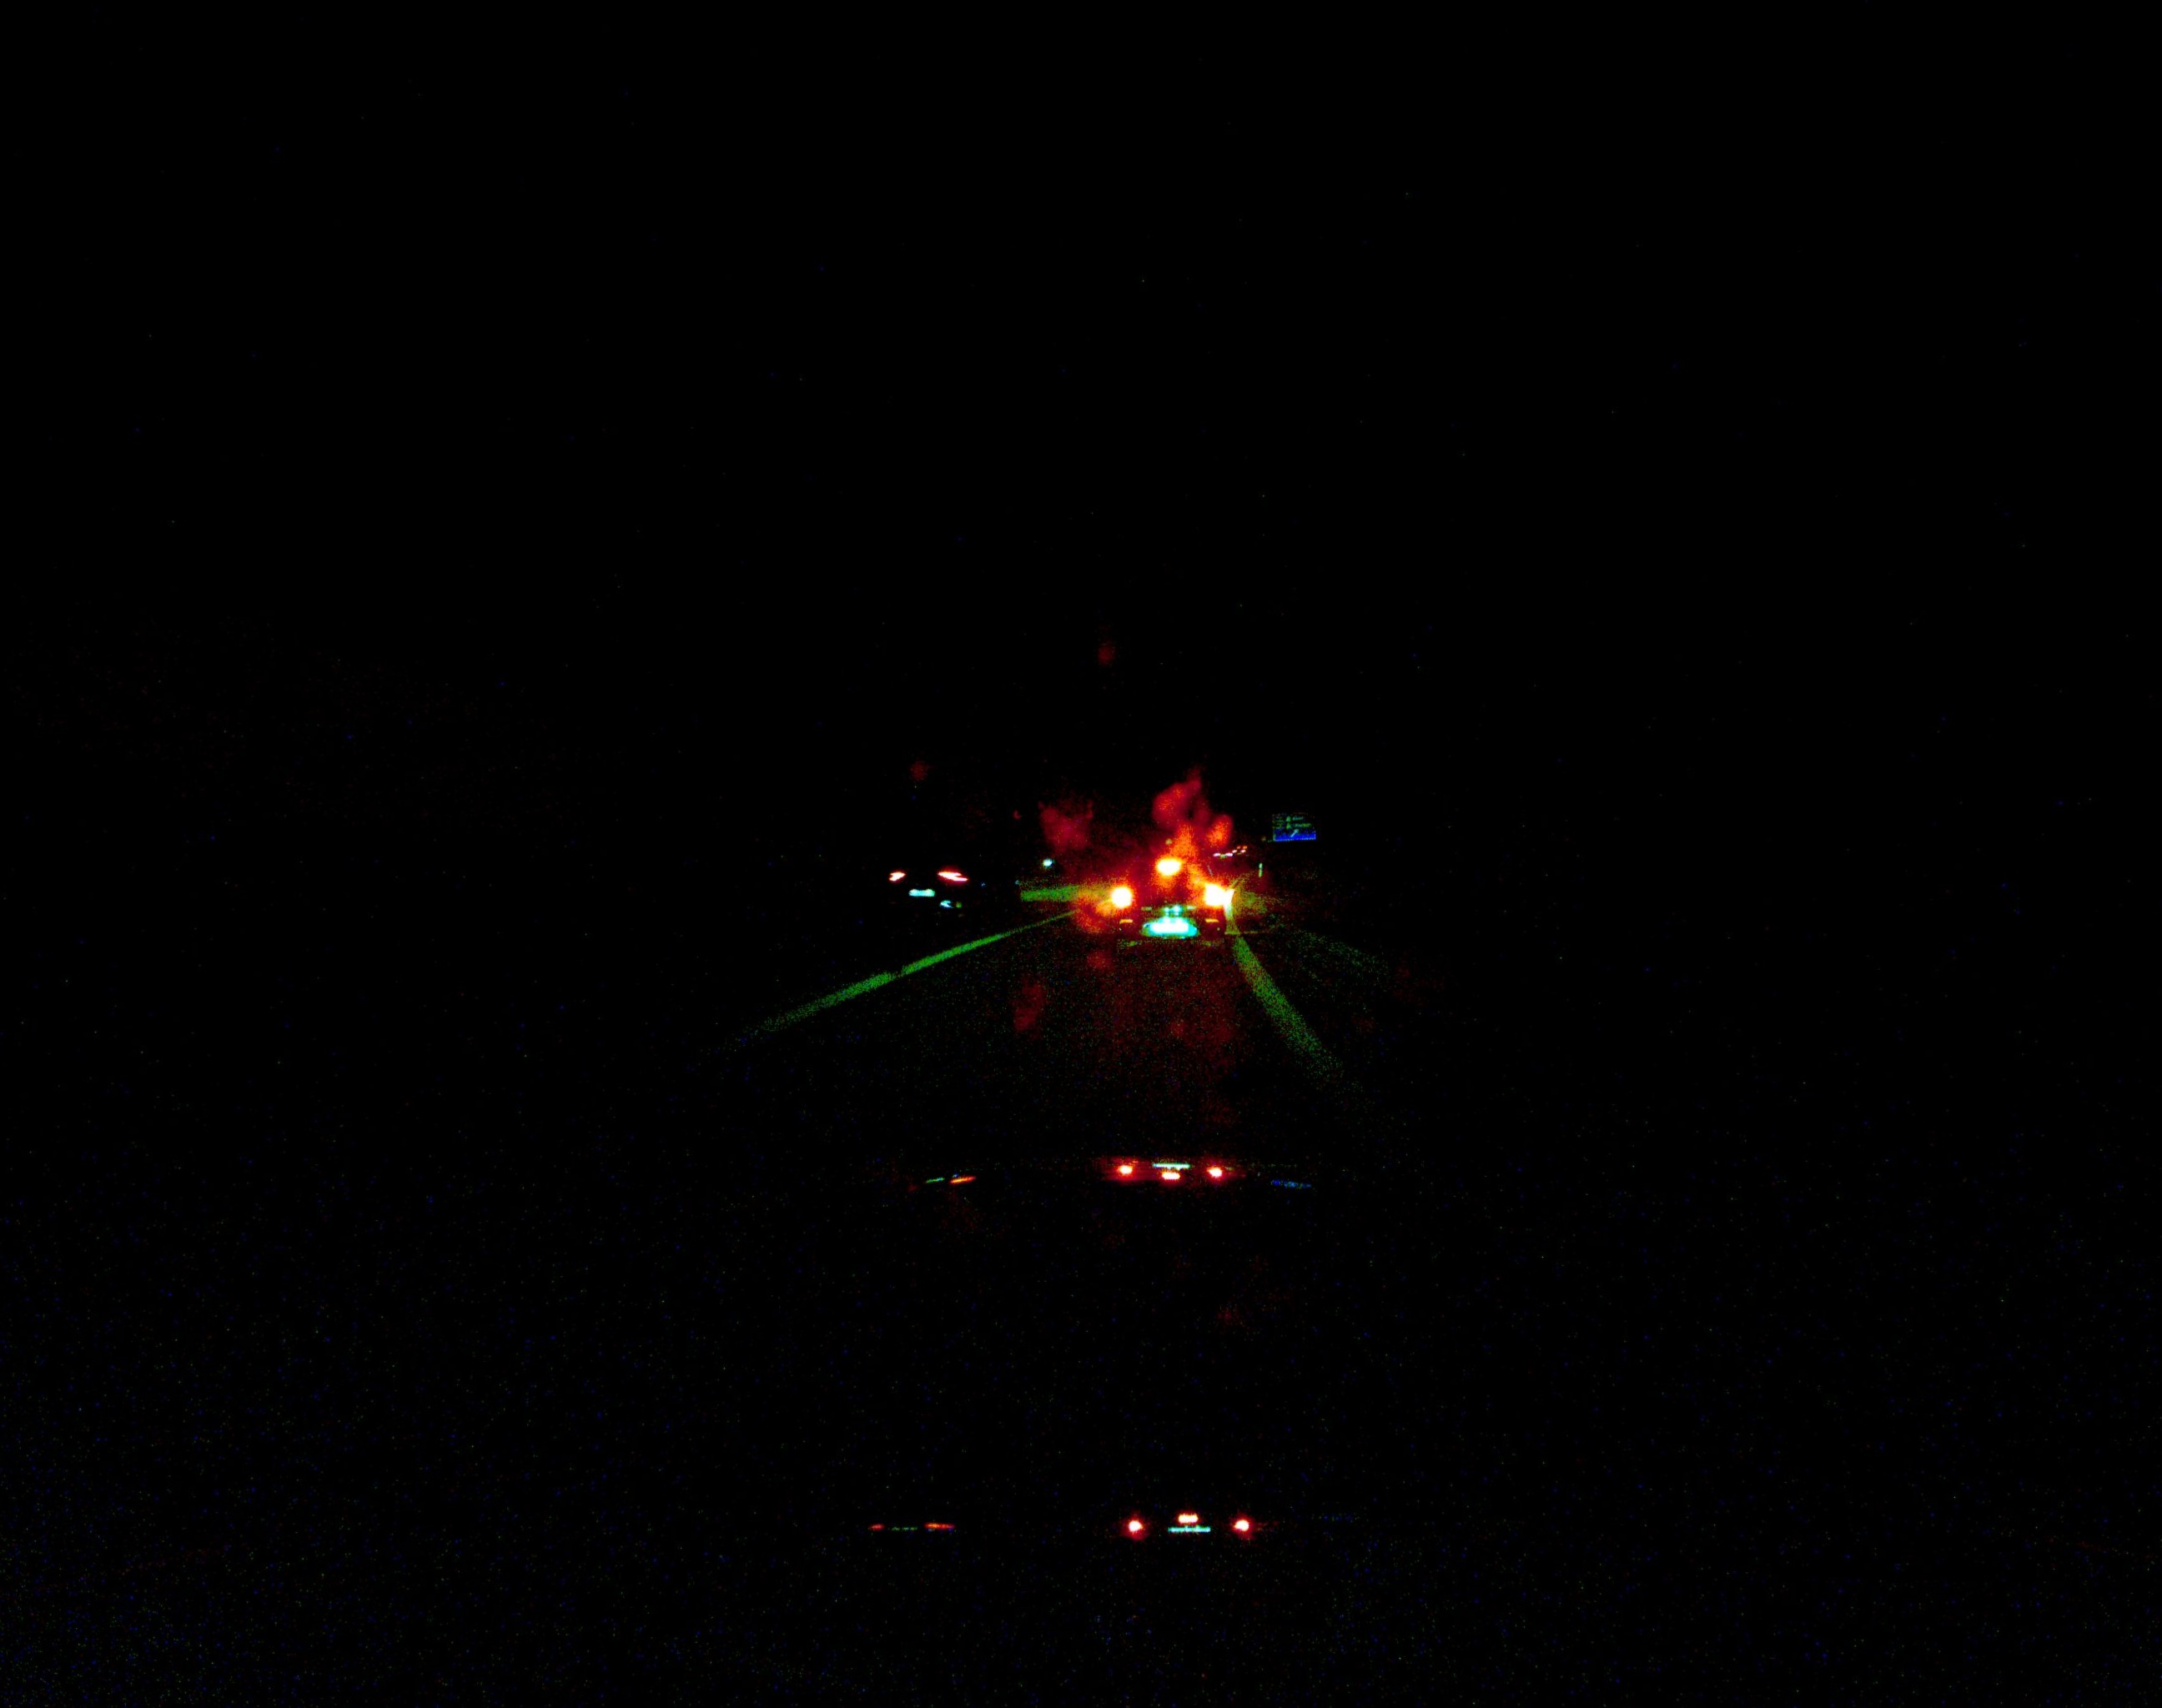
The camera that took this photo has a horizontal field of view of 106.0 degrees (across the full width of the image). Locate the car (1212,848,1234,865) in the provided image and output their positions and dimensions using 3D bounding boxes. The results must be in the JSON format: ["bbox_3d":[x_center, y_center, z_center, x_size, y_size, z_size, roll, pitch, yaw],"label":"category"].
[{"bbox_3d":[14.715,0.310,83.985,1.938,1.538,4.254,-6,-2,12],"label":"car"}]

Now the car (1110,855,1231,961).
[{"bbox_3d":[1.427,0.752,13.403,1.683,1.478,4.005,0,0,5],"label":"car"}]

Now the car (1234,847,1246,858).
[{"bbox_3d":[24.852,-0.243,126.902,1.722,1.618,3.811,-1,0,12],"label":"car"}]

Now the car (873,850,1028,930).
[{"bbox_3d":[-2.824,0.729,18.867,1.927,1.608,4.660,0,0,13],"label":"car"}]
